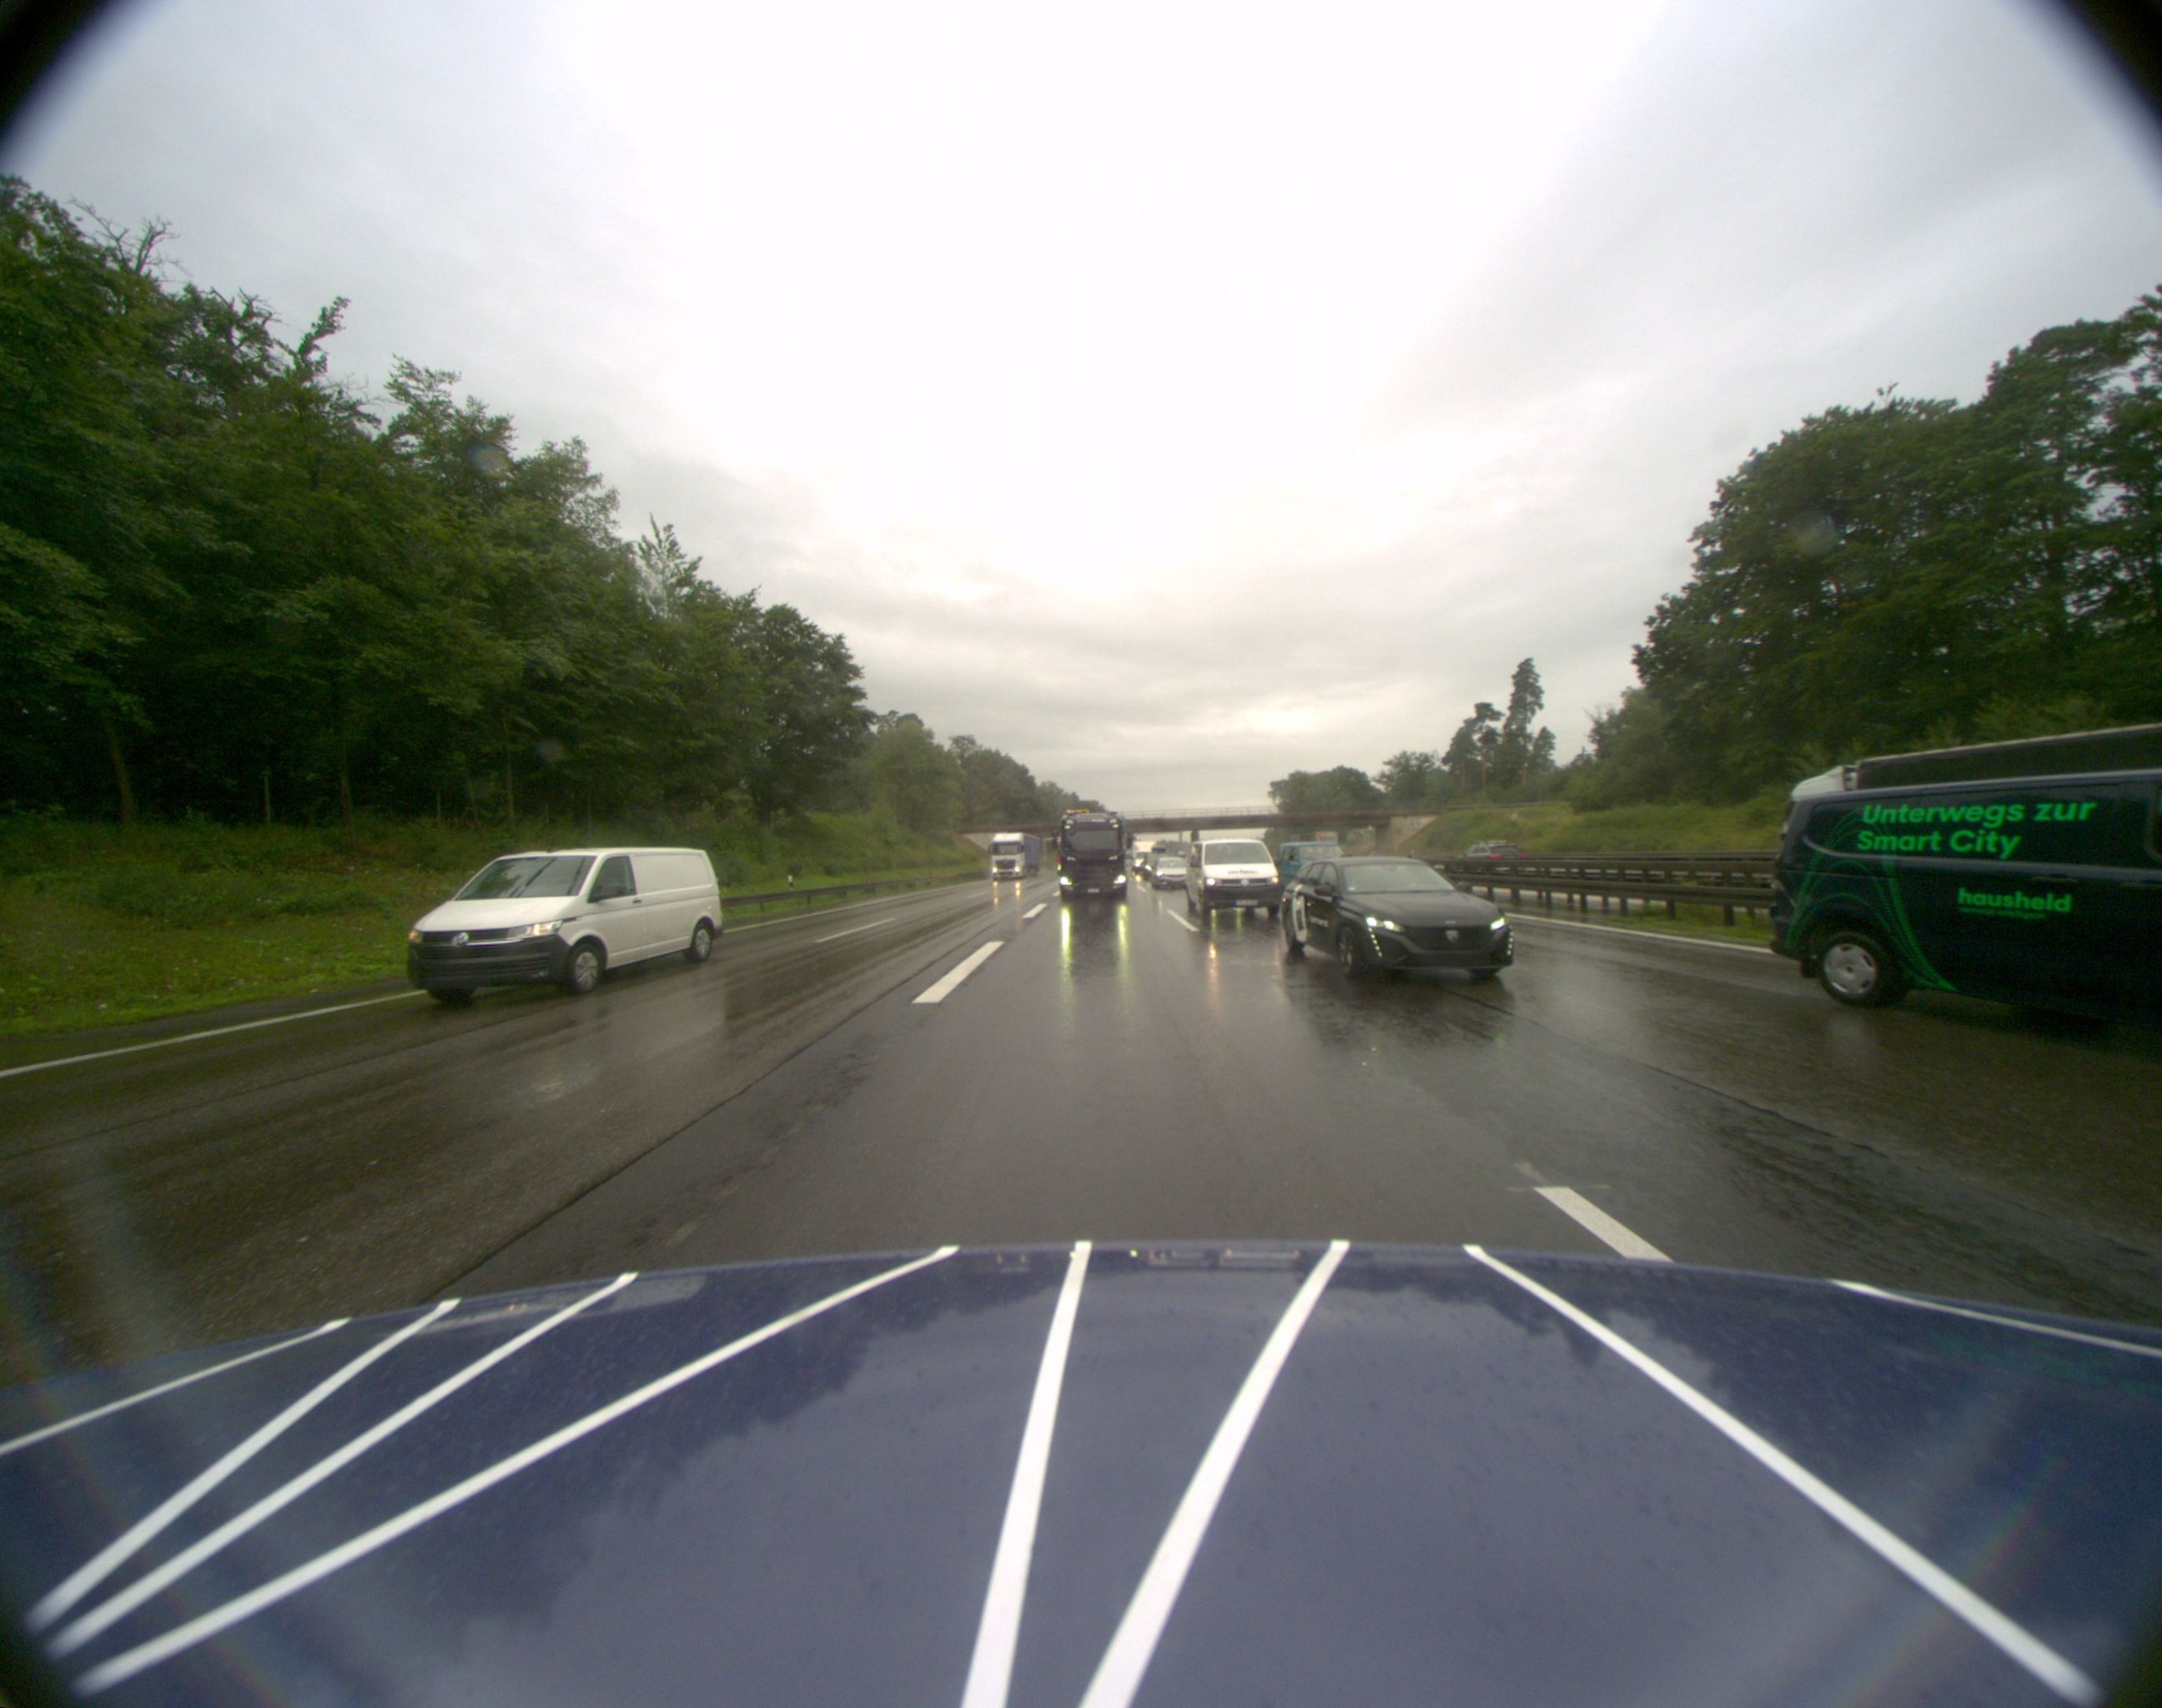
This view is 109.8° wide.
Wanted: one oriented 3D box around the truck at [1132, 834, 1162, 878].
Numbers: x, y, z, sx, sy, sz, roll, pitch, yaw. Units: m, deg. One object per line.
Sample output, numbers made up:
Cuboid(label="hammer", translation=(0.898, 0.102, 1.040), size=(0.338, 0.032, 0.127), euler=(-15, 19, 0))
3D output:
Cuboid(label="truck", translation=(6.229, 0.209, 72.683), size=(2.520, 3.941, 6.996), euler=(-2, 0, 3))

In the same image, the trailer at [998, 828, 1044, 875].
Cuboid(label="trailer", translation=(-5.570, -0.245, 73.143), size=(2.559, 3.990, 13.716), euler=(-2, 0, 3))

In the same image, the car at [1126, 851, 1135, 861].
Cuboid(label="car", translation=(11.722, 0.431, 180.111), size=(1.864, 1.557, 4.428), euler=(-2, 10, 1))

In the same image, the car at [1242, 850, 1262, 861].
Cuboid(label="car", translation=(24.215, 0.213, 107.508), size=(1.840, 1.489, 4.332), euler=(-2, 0, 1))

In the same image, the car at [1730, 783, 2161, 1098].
Cuboid(label="car", translation=(7.632, 0.494, 5.174), size=(1.996, 1.932, 5.242), euler=(-2, 0, 1))

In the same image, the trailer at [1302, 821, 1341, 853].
Cuboid(label="trailer", translation=(30.687, -2.118, 97.213), size=(2.688, 3.795, 9.009), euler=(-2, 0, 4))

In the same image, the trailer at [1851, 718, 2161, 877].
Cuboid(label="trailer", translation=(27.241, -1.386, 18.694), size=(3.032, 3.795, 13.561), euler=(-2, 0, 1))

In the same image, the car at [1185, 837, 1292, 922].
Cuboid(label="car", translation=(3.942, 0.590, 19.835), size=(1.994, 1.869, 4.768), euler=(-2, 0, 3))

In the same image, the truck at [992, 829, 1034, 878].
Cuboid(label="truck", translation=(-5.846, -0.071, 66.478), size=(2.607, 3.990, 6.013), euler=(-3, 1, 3))

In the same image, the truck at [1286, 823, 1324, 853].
Cuboid(label="truck", translation=(31.303, -2.101, 106.626), size=(2.710, 3.908, 10.028), euler=(-2, 0, 2))

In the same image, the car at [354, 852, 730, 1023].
Cuboid(label="car", translation=(-7.334, 0.971, 11.166), size=(1.995, 1.909, 4.767), euler=(-2, 0, 1))

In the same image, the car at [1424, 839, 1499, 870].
Cuboid(label="car", translation=(20.083, 0.014, 40.318), size=(1.840, 1.489, 4.332), euler=(-2, 0, 0))

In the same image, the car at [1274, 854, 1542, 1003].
Cuboid(label="car", translation=(4.008, 0.788, 10.238), size=(1.850, 1.496, 4.467), euler=(-2, 0, 3))

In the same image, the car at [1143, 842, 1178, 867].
Cuboid(label="car", translation=(5.366, 0.012, 51.846), size=(1.994, 1.551, 4.768), euler=(-2, 0, 3))

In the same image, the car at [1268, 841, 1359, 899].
Cuboid(label="car", translation=(8.355, 0.518, 27.788), size=(1.915, 1.852, 4.759), euler=(-2, 0, 1))

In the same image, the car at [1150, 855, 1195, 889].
Cuboid(label="car", translation=(4.444, 0.827, 37.269), size=(1.850, 1.496, 4.467), euler=(-2, 0, 3))

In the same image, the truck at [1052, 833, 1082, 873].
Cuboid(label="truck", translation=(-1.428, -0.120, 80.646), size=(2.607, 3.934, 5.601), euler=(-2, 1, 4))

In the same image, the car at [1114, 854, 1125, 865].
Cuboid(label="car", translation=(7.496, 1.004, 149.138), size=(1.998, 2.002, 4.000), euler=(-2, 0, 1))

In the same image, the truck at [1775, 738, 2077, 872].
Cuboid(label="truck", translation=(27.376, -1.411, 25.183), size=(3.028, 3.795, 6.264), euler=(-2, 0, 1))

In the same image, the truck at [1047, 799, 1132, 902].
Cuboid(label="truck", translation=(0.629, -0.170, 32.200), size=(2.879, 3.528, 10.913), euler=(-2, 1, 4))
